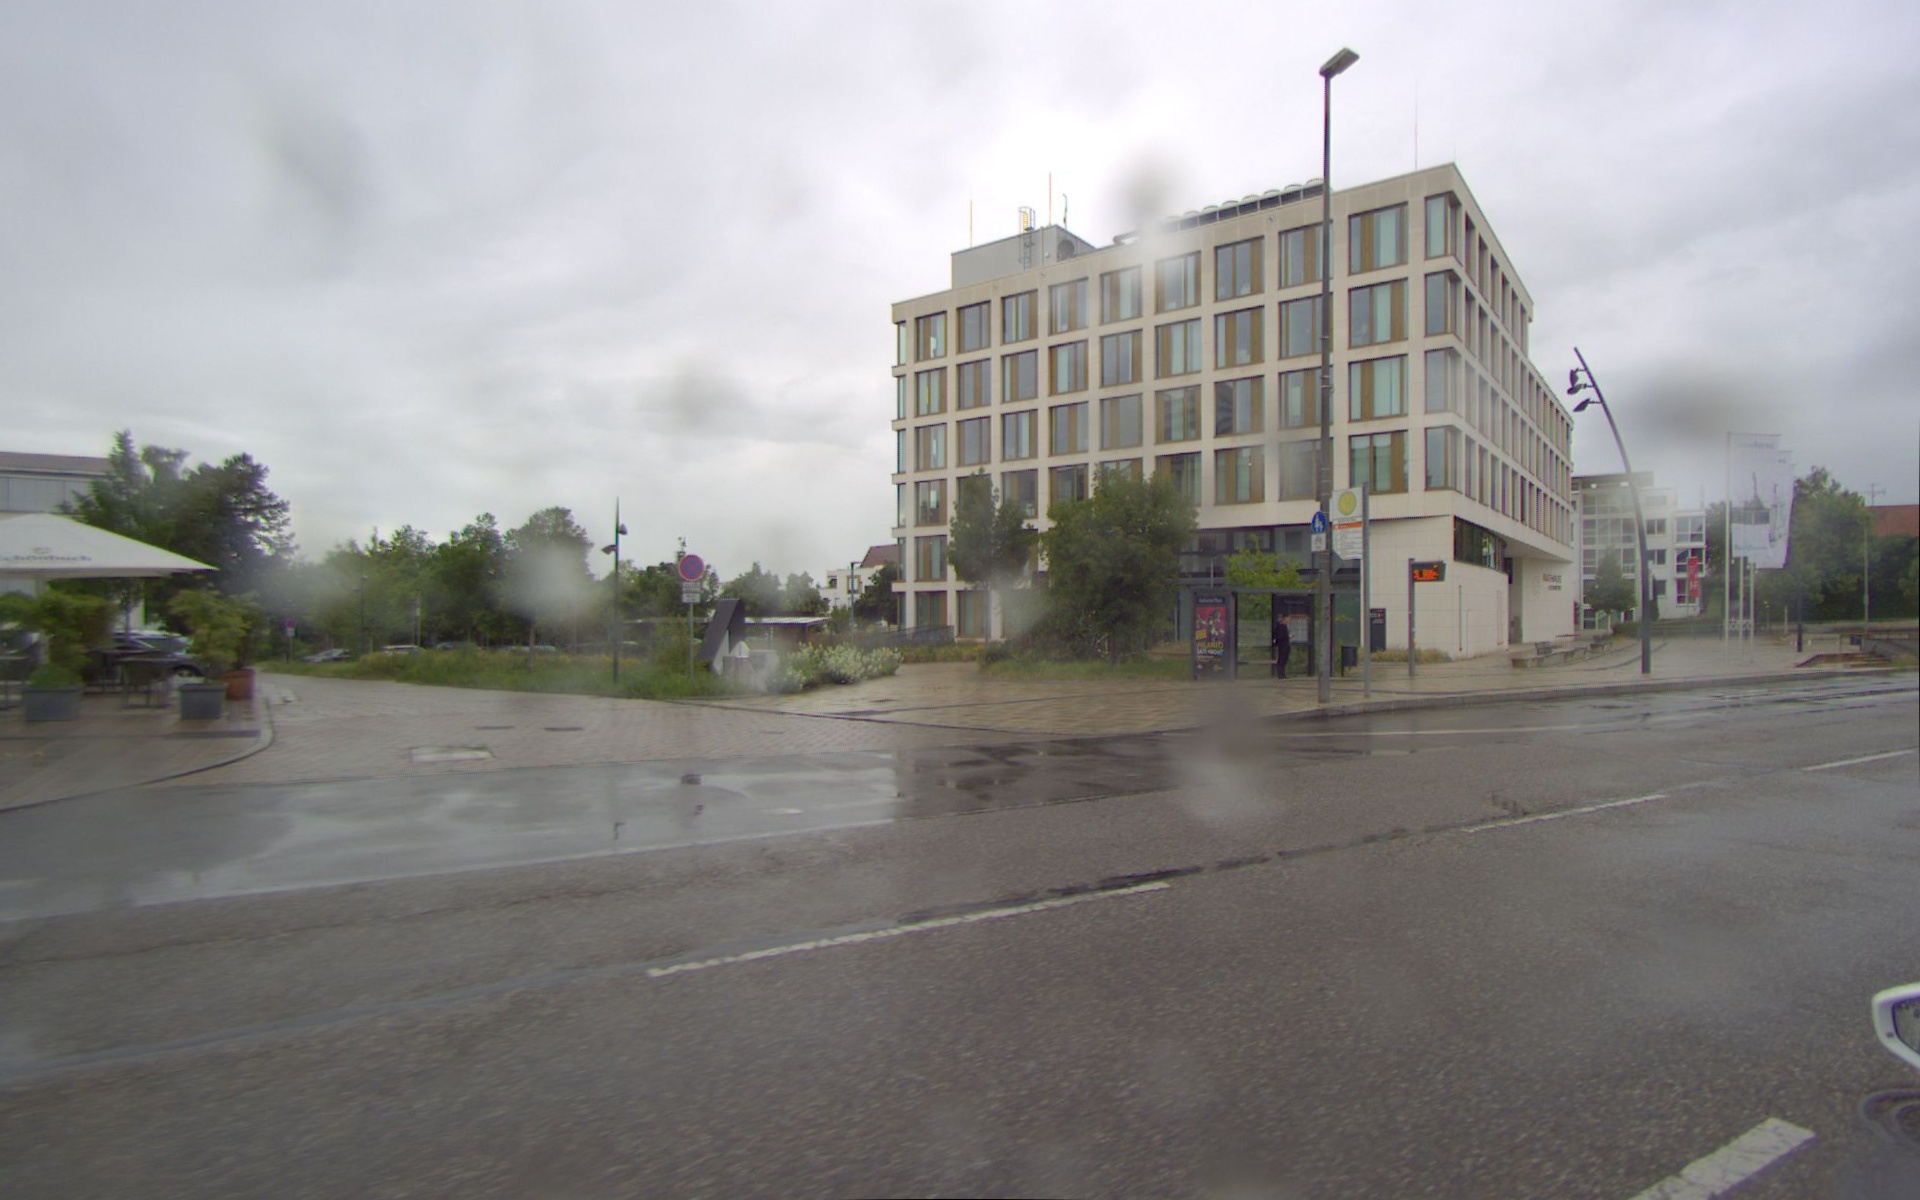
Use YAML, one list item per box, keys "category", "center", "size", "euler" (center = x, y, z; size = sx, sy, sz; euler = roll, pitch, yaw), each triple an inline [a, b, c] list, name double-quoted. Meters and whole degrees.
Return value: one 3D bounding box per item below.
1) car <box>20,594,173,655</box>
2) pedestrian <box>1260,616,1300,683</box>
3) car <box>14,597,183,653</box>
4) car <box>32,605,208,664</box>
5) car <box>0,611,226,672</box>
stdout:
- category: "car"
  center: [-27.010, 0.800, 31.484]
  size: [1.470, 1.799, 3.440]
  euler: [-1, -3, 43]
- category: "pedestrian"
  center: [8.603, 1.331, 27.003]
  size: [0.669, 1.768, 0.775]
  euler: [3, -3, -44]
- category: "car"
  center: [-28.576, 0.860, 33.408]
  size: [1.971, 1.711, 3.980]
  euler: [-1, -3, 41]
- category: "car"
  center: [-22.551, 0.966, 27.040]
  size: [1.480, 1.478, 3.417]
  euler: [-1, -3, 41]
- category: "car"
  center: [-20.331, 1.004, 23.839]
  size: [1.769, 1.312, 4.446]
  euler: [-1, -3, 43]
